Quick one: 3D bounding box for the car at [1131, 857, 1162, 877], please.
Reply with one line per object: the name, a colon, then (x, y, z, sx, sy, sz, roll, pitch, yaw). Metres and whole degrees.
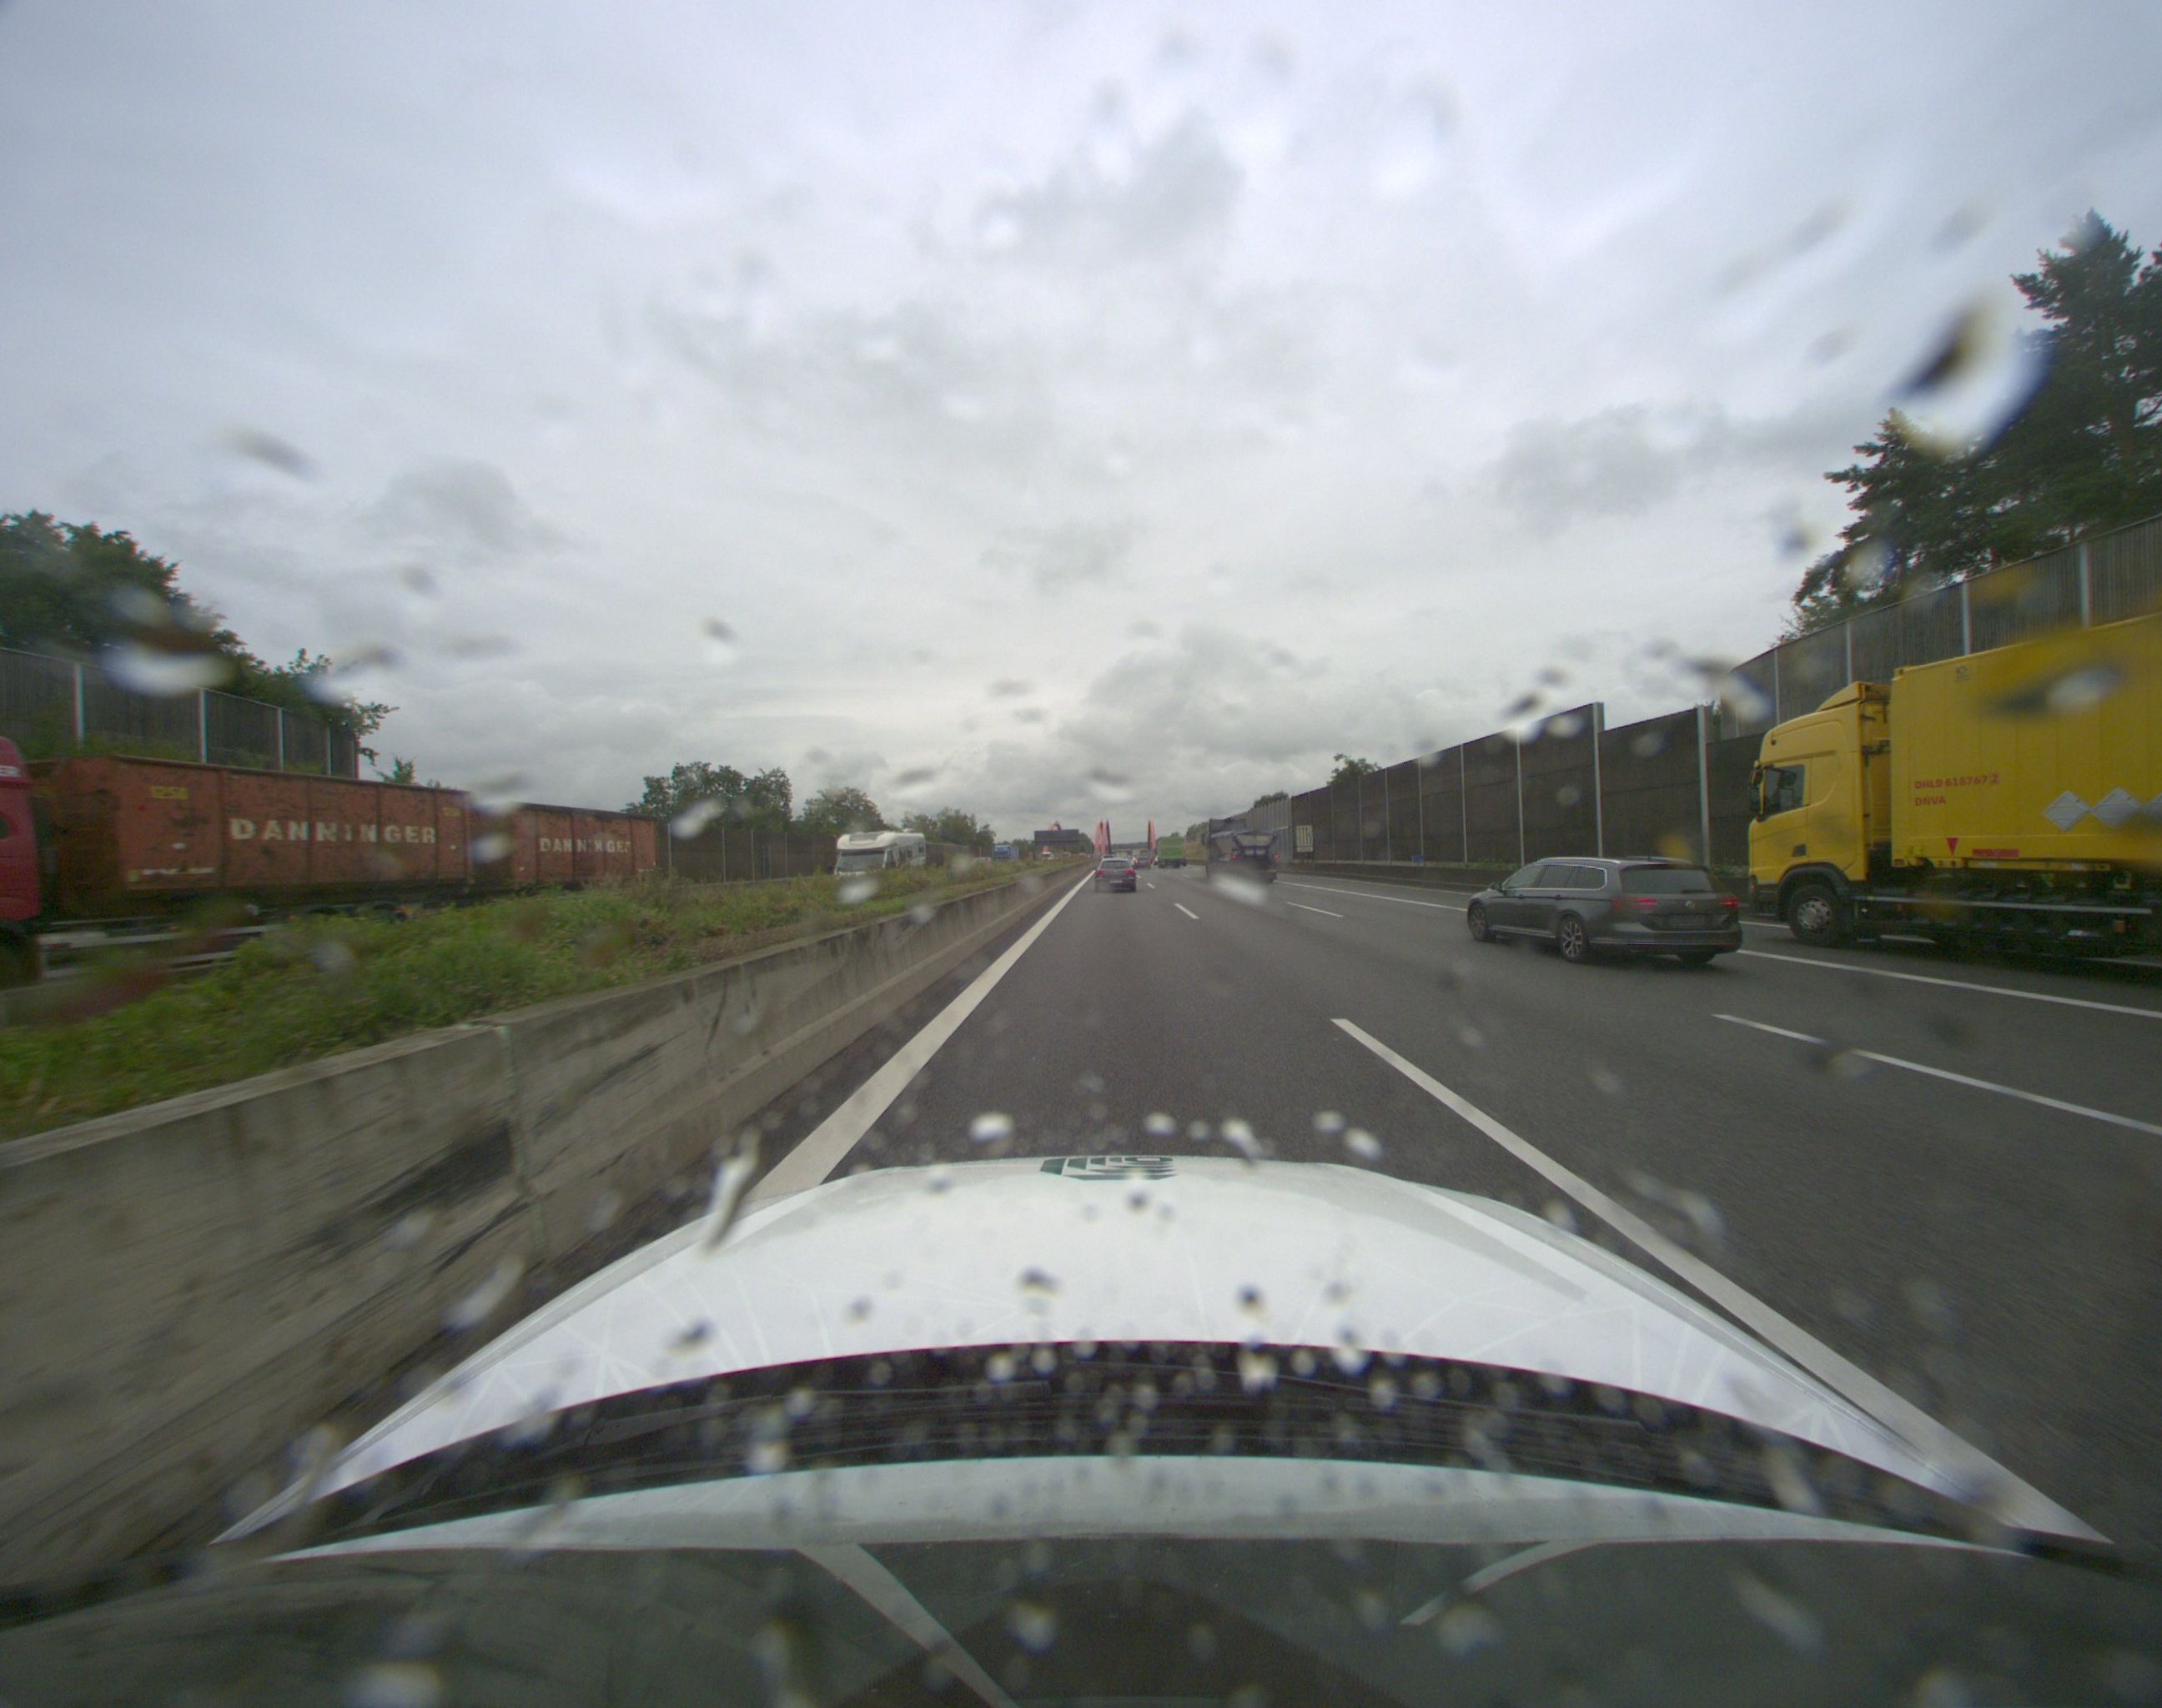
car: (4.535, 0.887, 56.807, 1.986, 1.354, 4.002, -1, 0, 2)

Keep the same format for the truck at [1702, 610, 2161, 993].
truck: (12.541, -0.528, 10.093, 2.676, 3.958, 9.327, 0, 0, 1)

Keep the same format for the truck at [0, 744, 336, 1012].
truck: (-16.262, 0.375, 12.956, 2.686, 3.707, 6.482, -1, -1, 1)

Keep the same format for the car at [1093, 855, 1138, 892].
car: (1.499, 0.799, 34.721, 1.756, 1.453, 4.003, -1, 0, 3)

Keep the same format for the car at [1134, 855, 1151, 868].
car: (6.768, 0.819, 89.814, 1.775, 1.406, 3.628, -1, 0, 2)

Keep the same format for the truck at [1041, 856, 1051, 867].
truck: (-9.894, 2.065, 228.521, 2.613, 3.019, 5.611, 0, 0, 0)

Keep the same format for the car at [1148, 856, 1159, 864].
car: (15.077, 1.269, 169.410, 1.950, 1.647, 4.002, 0, 0, 2)

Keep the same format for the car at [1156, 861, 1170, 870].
car: (13.617, 1.901, 136.134, 1.986, 1.619, 5.330, 0, 0, 2)

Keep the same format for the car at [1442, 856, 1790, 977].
car: (7.576, 0.750, 12.396, 1.933, 1.427, 5.290, 0, 0, 1)

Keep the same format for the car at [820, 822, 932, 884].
car: (-8.142, -0.006, 33.436, 2.365, 2.193, 7.727, -2, 0, 2)

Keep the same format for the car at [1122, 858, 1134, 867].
car: (7.951, 1.472, 137.723, 1.986, 1.354, 4.001, -2, 0, 1)

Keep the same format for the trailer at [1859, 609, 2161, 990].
trailer: (12.423, -0.597, 3.414, 2.641, 3.953, 16.688, 0, 0, 1)

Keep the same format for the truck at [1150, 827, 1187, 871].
truck: (10.811, -0.571, 101.953, 3.981, 5.266, 11.227, 0, 0, 3)

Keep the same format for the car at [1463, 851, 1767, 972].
car: (7.478, 0.709, 12.050, 1.657, 1.456, 4.471, 0, 0, 1)

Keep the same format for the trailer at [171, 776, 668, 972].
trailer: (-15.951, 0.391, 21.979, 2.716, 3.683, 12.569, -2, 0, 2)

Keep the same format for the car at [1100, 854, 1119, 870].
car: (3.060, 0.872, 88.232, 1.986, 1.585, 4.002, -2, 0, 2)

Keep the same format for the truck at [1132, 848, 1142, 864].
truck: (17.209, 0.644, 251.478, 3.032, 4.734, 7.685, 0, 0, 3)

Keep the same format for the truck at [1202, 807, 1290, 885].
truck: (9.531, -0.394, 48.777, 3.077, 3.950, 12.952, -2, 0, 2)

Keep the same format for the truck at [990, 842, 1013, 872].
truck: (-12.872, 0.505, 132.140, 3.177, 4.858, 5.419, 0, -1, 1)

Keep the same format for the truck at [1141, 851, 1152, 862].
truck: (14.927, 0.641, 185.802, 2.351, 2.506, 6.148, -1, 0, 3)

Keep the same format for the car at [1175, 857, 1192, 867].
car: (14.760, 1.137, 117.719, 1.986, 1.354, 4.002, -2, 0, 2)

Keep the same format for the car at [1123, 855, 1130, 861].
car: (13.186, 1.145, 236.457, 1.985, 1.815, 4.003, -1, 0, 3)
